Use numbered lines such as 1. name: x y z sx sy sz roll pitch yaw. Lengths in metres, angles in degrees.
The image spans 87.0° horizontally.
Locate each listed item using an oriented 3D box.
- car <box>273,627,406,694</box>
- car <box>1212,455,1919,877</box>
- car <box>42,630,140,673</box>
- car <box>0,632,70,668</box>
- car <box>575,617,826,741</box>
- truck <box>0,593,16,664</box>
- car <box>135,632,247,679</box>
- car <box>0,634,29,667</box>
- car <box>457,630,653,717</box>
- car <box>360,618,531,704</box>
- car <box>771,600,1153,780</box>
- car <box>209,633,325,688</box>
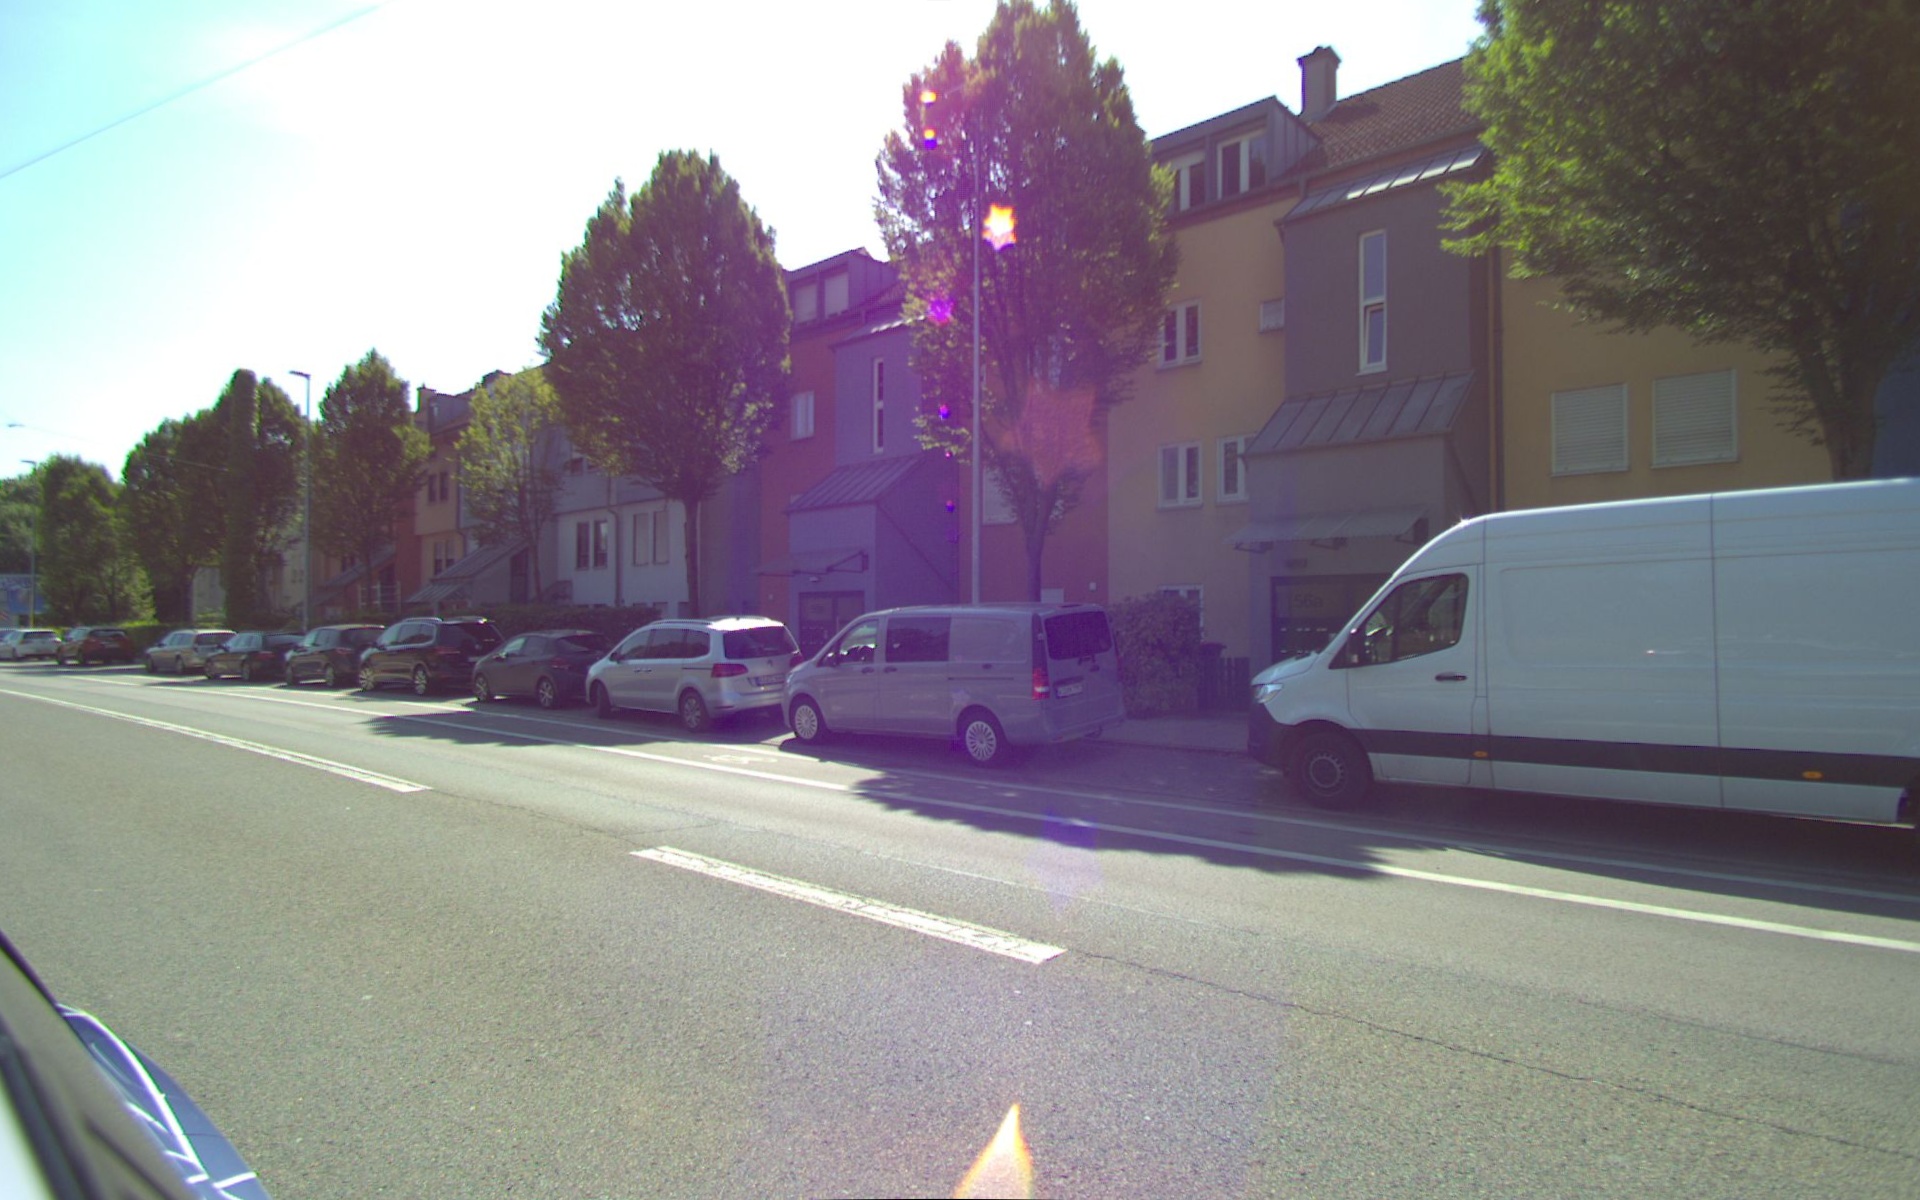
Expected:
1. car: -16.570 1.542 26.955 4.159 1.619 1.661 -1 -1 38
2. car: 5.756 0.423 8.144 7.084 2.697 1.972 -2 1 42
3. car: -35.524 2.048 41.325 4.920 1.588 1.889 -1 -1 35
4. car: -42.026 2.212 45.579 4.123 1.510 2.016 -1 -1 35
5. car: -4.469 1.197 17.033 4.539 1.715 1.829 -1 2 42
6. truck: -52.339 1.501 52.460 8.763 3.581 3.129 -1 -2 35
7. car: -26.398 1.867 34.668 4.826 1.457 1.662 -1 -1 35
8. car: -46.260 2.379 48.255 4.206 1.489 1.893 -1 -1 35
9. car: -8.256 1.403 20.536 4.069 1.466 1.849 -1 1 38
10. car: -11.934 1.331 23.368 4.343 1.741 1.812 -1 0 38
11. car: -0.143 1.040 13.481 4.964 1.879 1.973 -2 2 41
12. car: -20.889 1.760 30.452 4.207 1.481 1.661 -1 -1 38
